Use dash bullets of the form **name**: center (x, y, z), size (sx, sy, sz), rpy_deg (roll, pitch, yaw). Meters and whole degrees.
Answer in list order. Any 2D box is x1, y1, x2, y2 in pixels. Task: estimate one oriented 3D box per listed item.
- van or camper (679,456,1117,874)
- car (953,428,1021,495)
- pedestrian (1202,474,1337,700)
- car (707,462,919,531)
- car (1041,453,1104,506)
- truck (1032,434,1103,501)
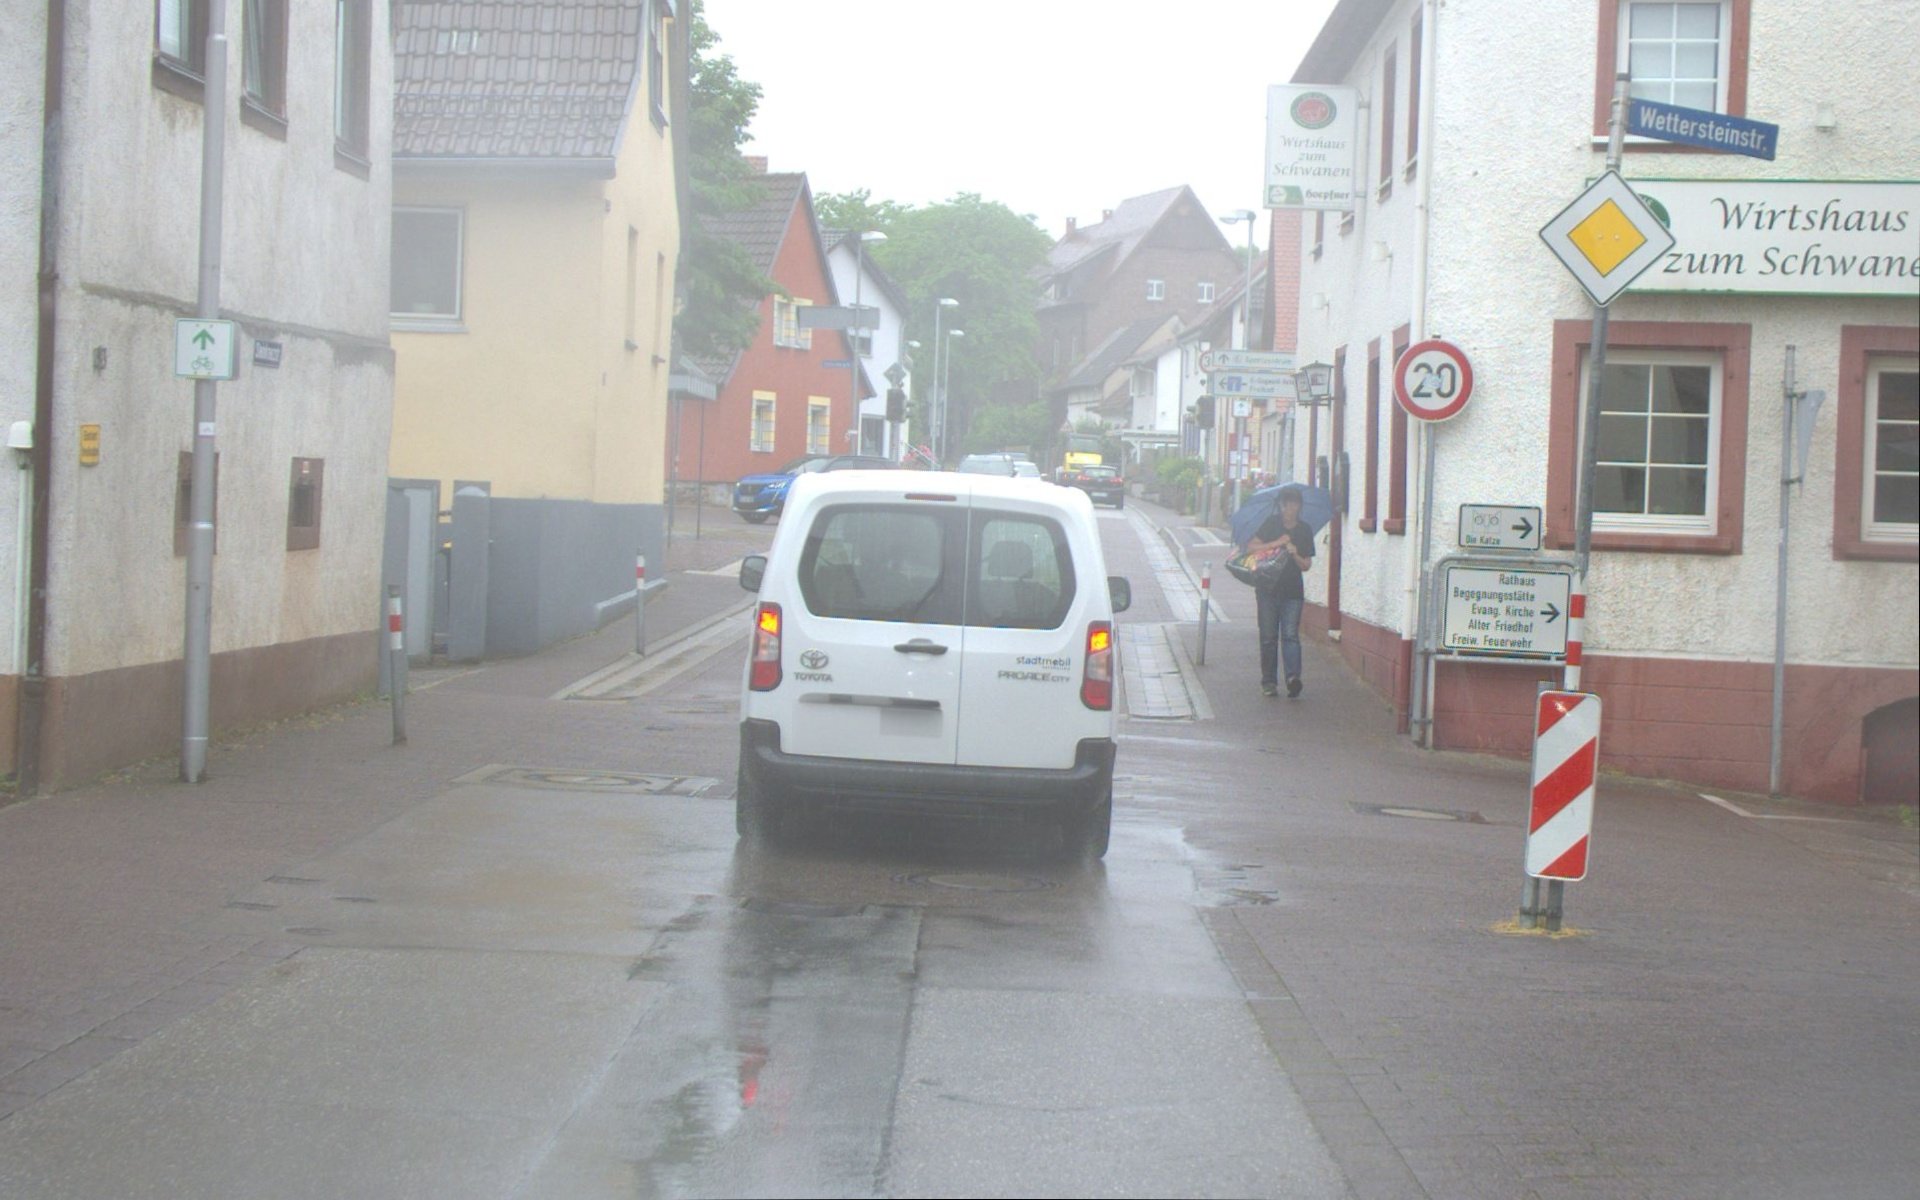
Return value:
- **van or camper**: center (-0.223, 0.266, 17.657), size (1.943, 1.845, 4.000), rpy_deg (2, 1, 2)
- **car**: center (0.756, -3.880, 95.745), size (1.812, 1.773, 4.018), rpy_deg (2, 3, 1)
- **pedestrian**: center (2.494, -0.121, 27.659), size (0.994, 1.730, 0.811), rpy_deg (2, 4, 6)
- **car**: center (-3.118, -2.204, 73.250), size (3.987, 1.368, 2.111), rpy_deg (0, 2, -35)
- **car**: center (3.843, -4.136, 117.893), size (1.993, 1.741, 4.000), rpy_deg (2, 2, 0)
- **truck**: center (4.081, -5.030, 131.018), size (2.350, 2.417, 4.950), rpy_deg (2, 2, -1)
